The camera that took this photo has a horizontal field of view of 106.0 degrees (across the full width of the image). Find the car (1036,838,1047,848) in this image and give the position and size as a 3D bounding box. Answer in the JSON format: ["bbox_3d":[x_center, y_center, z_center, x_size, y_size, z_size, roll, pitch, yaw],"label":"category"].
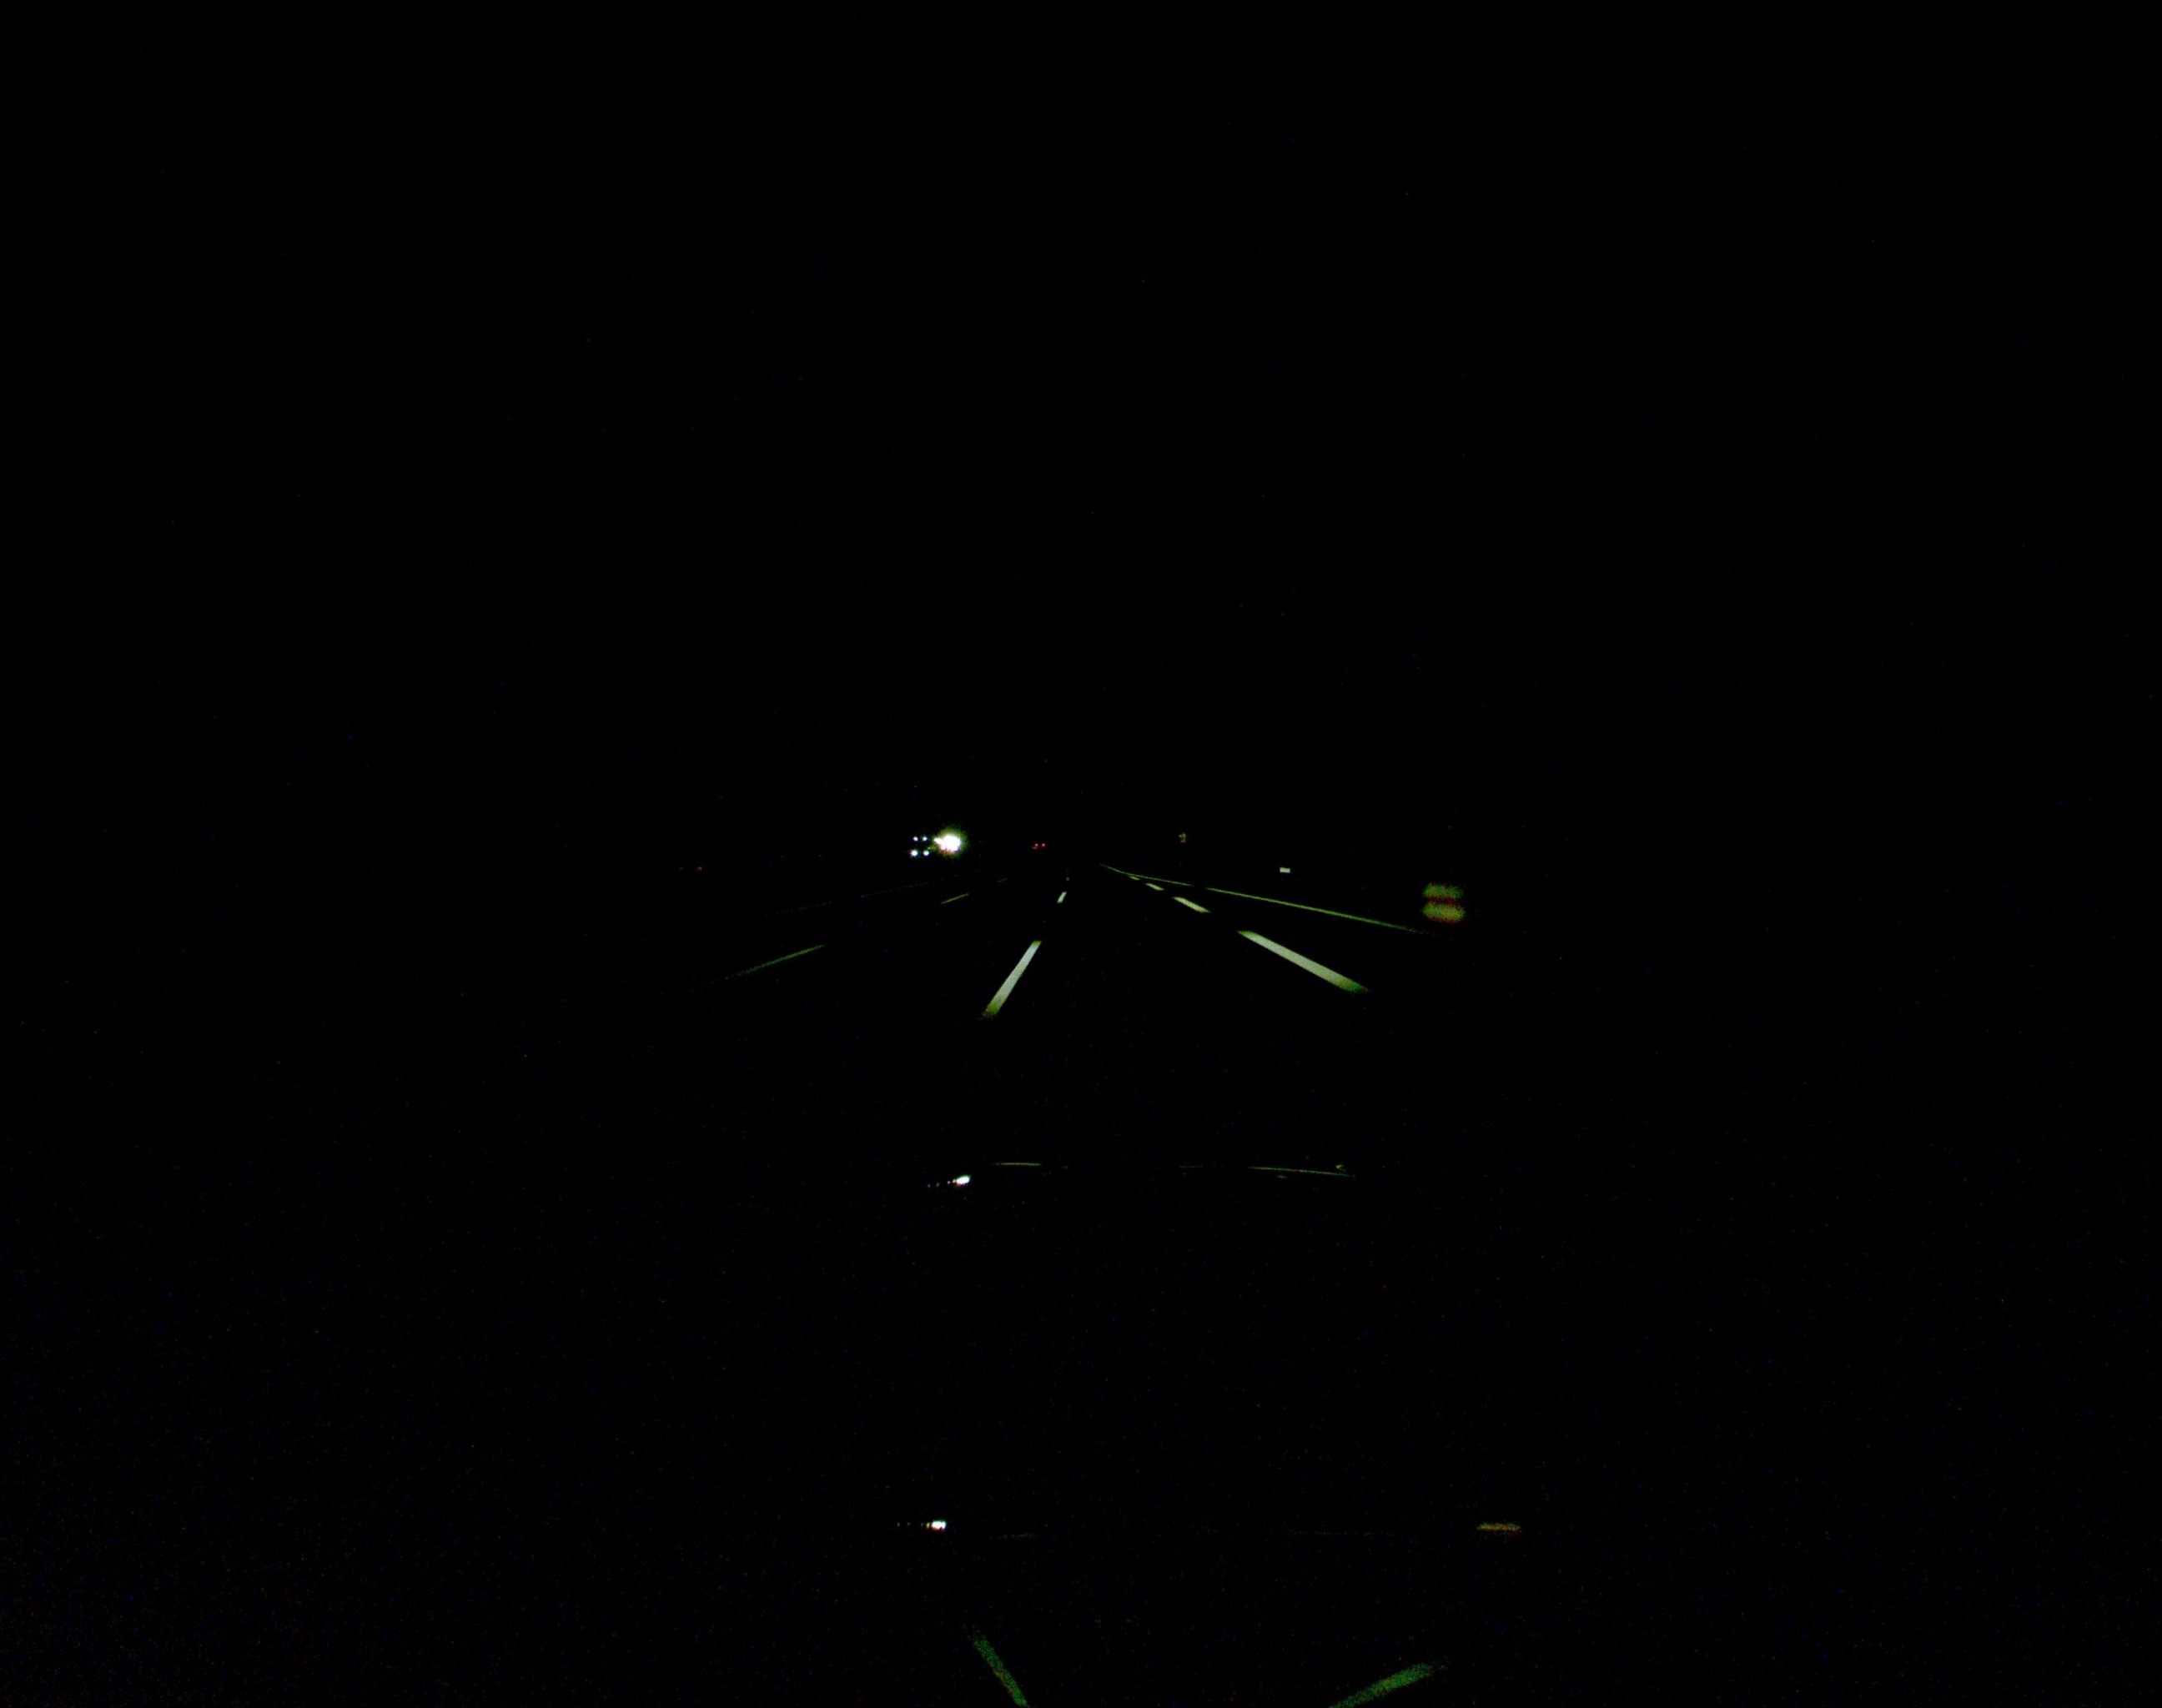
[{"bbox_3d":[-10.525,-2.835,215.780,2.523,2.553,6.041,2,1,-5],"label":"car"}]

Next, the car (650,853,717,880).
[{"bbox_3d":[-23.343,0.693,48.014,1.987,1.508,4.000,-1,0,0],"label":"car"}]

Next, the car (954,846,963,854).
[{"bbox_3d":[-29.257,-0.975,193.909,1.992,1.726,4.067,-1,1,-7],"label":"car"}]

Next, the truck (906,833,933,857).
[{"bbox_3d":[-27.912,-1.530,141.035,3.582,4.099,5.987,-1,1,-3],"label":"truck"}]

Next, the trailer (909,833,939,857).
[{"bbox_3d":[-28.355,-1.596,147.714,3.592,4.090,14.105,-1,1,-4],"label":"trailer"}]

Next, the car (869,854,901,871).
[{"bbox_3d":[-17.973,0.776,74.901,1.987,1.508,4.000,-1,0,0],"label":"car"}]
